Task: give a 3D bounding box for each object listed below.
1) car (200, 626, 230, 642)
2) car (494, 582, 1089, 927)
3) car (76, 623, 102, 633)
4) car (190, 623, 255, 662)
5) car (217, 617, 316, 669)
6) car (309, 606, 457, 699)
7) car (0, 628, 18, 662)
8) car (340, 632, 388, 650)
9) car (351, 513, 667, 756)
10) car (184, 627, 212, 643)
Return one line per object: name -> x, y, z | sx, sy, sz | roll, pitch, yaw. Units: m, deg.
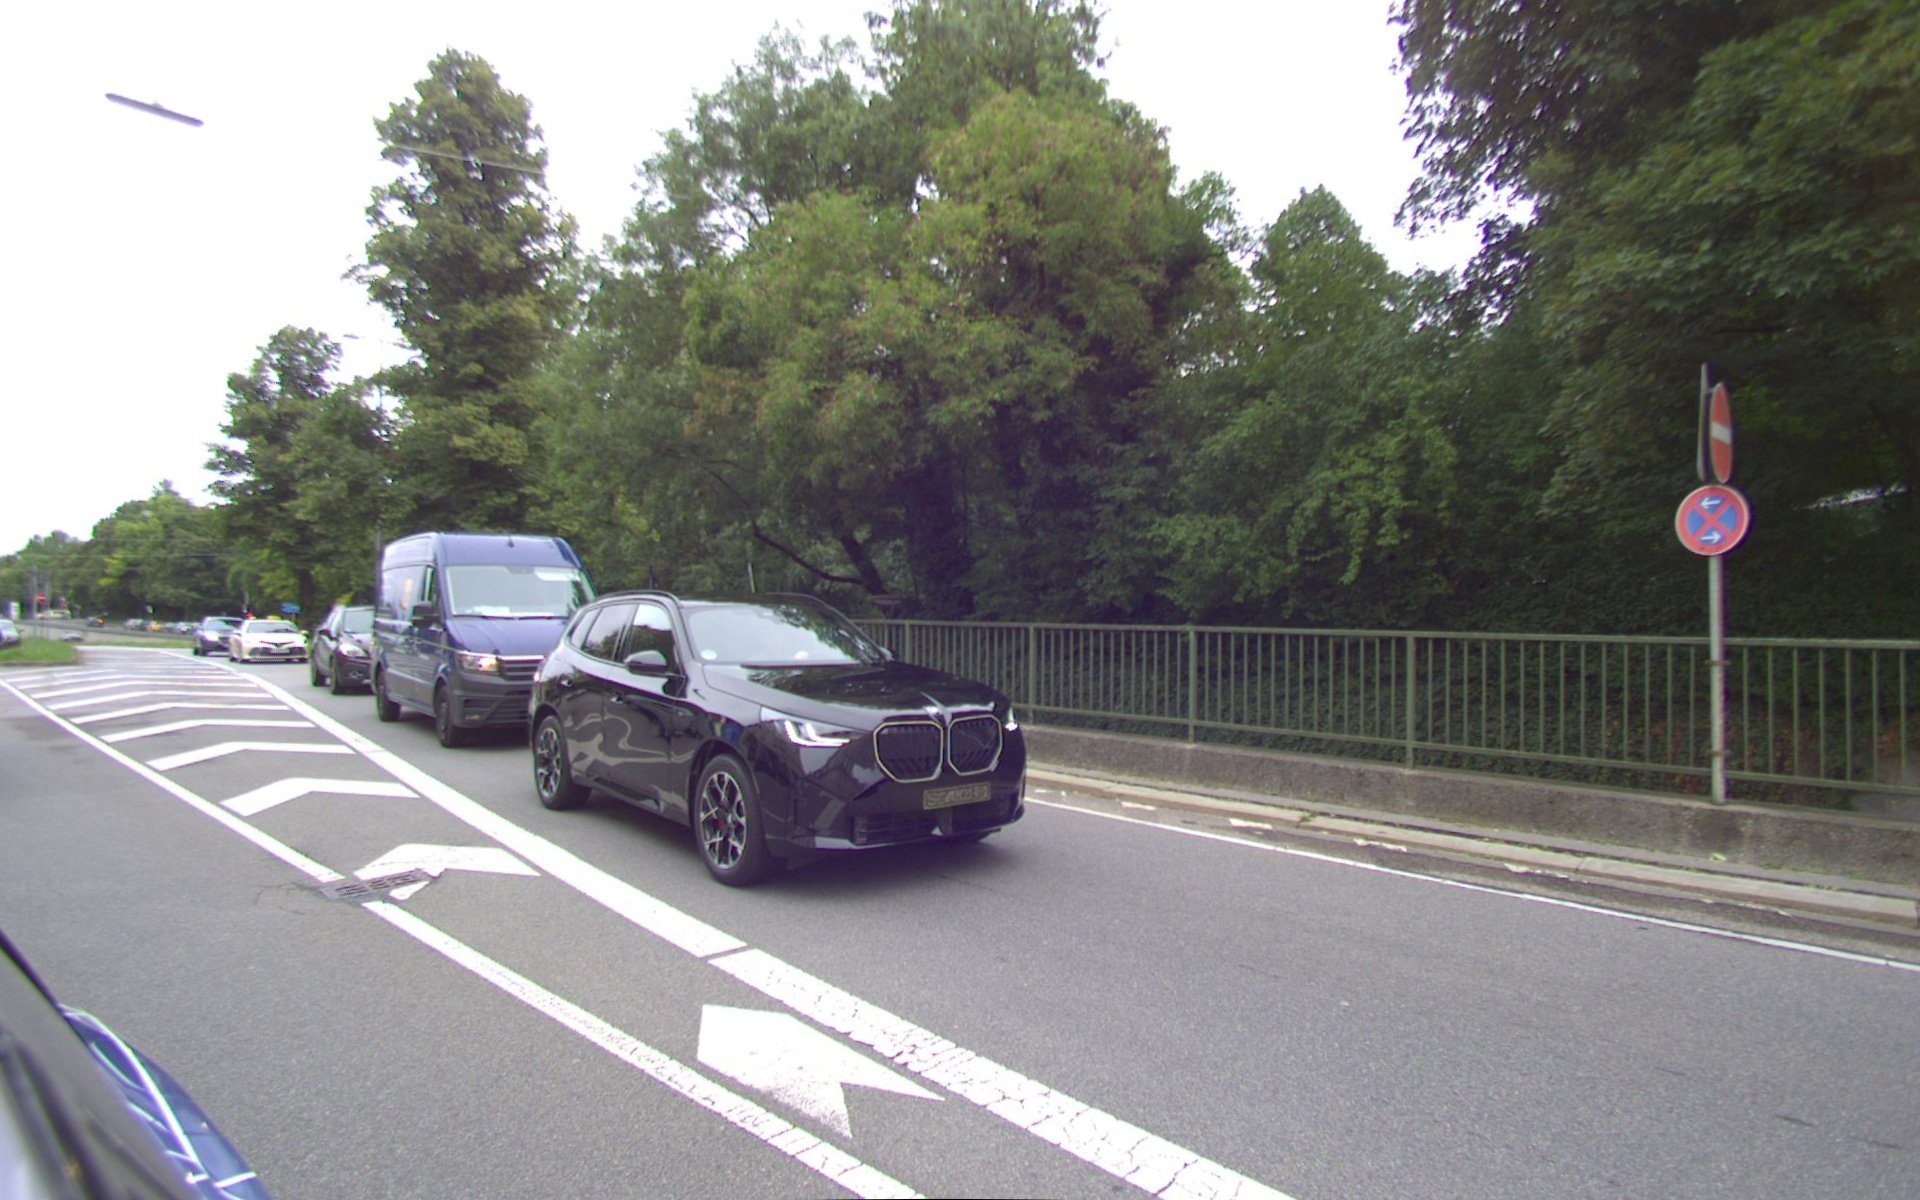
car -> -83.447, 3.818, 113.313 | 3.998, 1.759, 1.860 | -1, -2, 41
car -> -1.538, 0.747, 7.155 | 1.889, 1.598, 4.837 | 1, -1, -41
car -> -124.010, 3.978, 144.073 | 4.025, 1.457, 1.874 | -2, -3, 36
car -> -31.646, 1.799, 43.395 | 1.962, 1.577, 4.280 | 2, -2, -39
car -> -23.054, 1.392, 33.560 | 1.964, 1.577, 4.658 | 2, -2, -44
car -> -11.522, 0.985, 20.074 | 1.961, 1.640, 4.282 | 1, -2, -37
car -> -45.705, 2.093, 47.714 | 1.876, 1.577, 4.775 | 2, -2, -43
car -> -50.810, 3.481, 86.235 | 4.519, 1.457, 1.974 | -1, -3, 38
car -> -6.141, 0.387, 13.261 | 2.157, 2.482, 5.860 | 1, -1, -41
car -> -89.031, 4.082, 118.230 | 3.998, 1.759, 1.842 | -1, -2, 41
